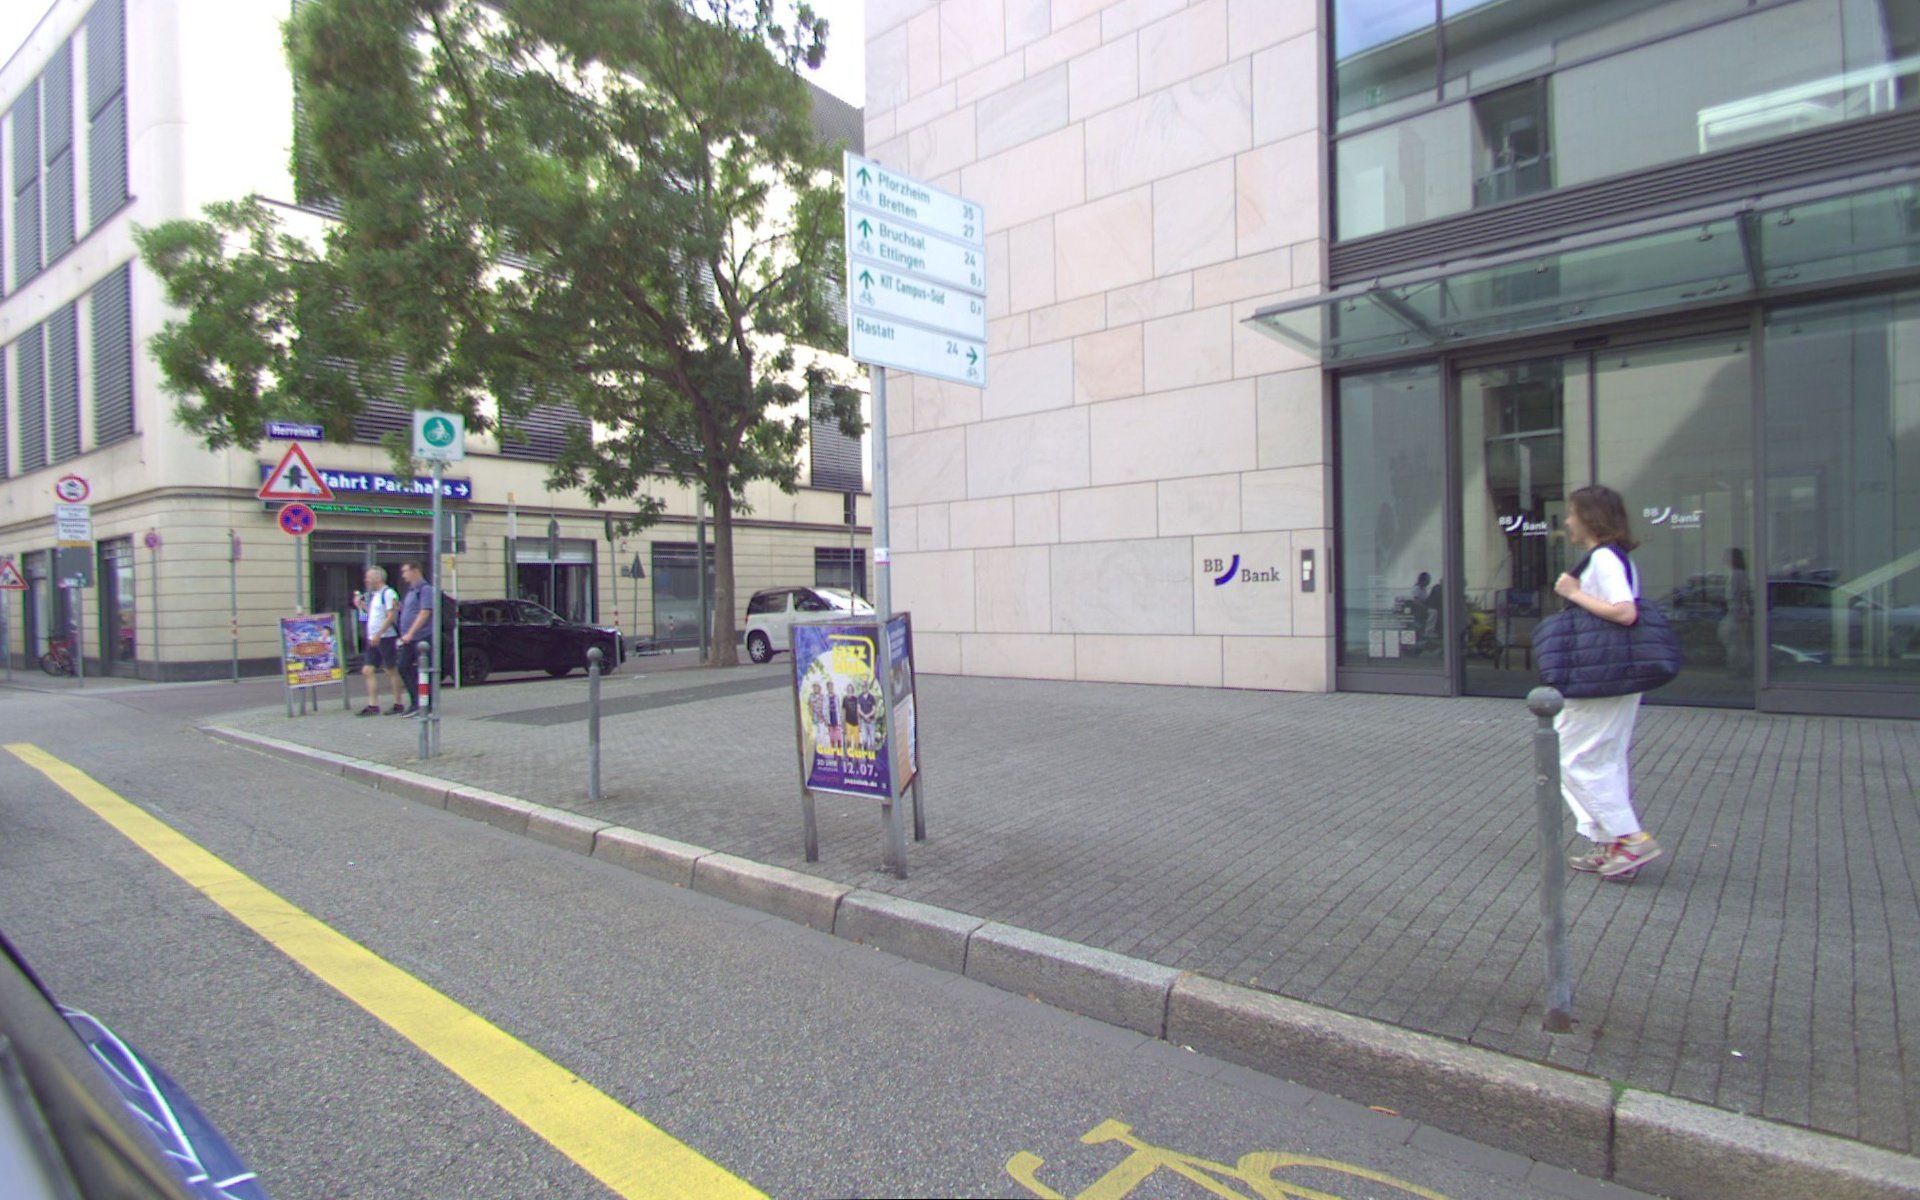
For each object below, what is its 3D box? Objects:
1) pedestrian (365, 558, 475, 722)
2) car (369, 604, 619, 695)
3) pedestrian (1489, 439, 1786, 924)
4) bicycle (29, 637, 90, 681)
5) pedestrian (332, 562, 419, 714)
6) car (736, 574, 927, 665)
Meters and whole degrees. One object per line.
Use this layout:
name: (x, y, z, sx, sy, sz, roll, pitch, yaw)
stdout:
pedestrian: (-6.367, 0.450, 11.951, 0.753, 1.827, 0.738, -2, 3, 29)
car: (-9.375, 0.913, 20.665, 1.813, 1.613, 4.310, -1, 0, 38)
pedestrian: (2.820, 0.269, 4.197, 0.909, 1.721, 0.868, -1, 4, 40)
bicycle: (-23.409, 1.502, 26.296, 2.539, 1.052, 0.684, -1, 0, 37)
pedestrian: (-7.057, 0.446, 12.227, 0.651, 1.778, 0.637, -2, 0, 29)
car: (-2.893, 0.464, 22.471, 3.957, 1.706, 1.876, -5, -3, 37)
